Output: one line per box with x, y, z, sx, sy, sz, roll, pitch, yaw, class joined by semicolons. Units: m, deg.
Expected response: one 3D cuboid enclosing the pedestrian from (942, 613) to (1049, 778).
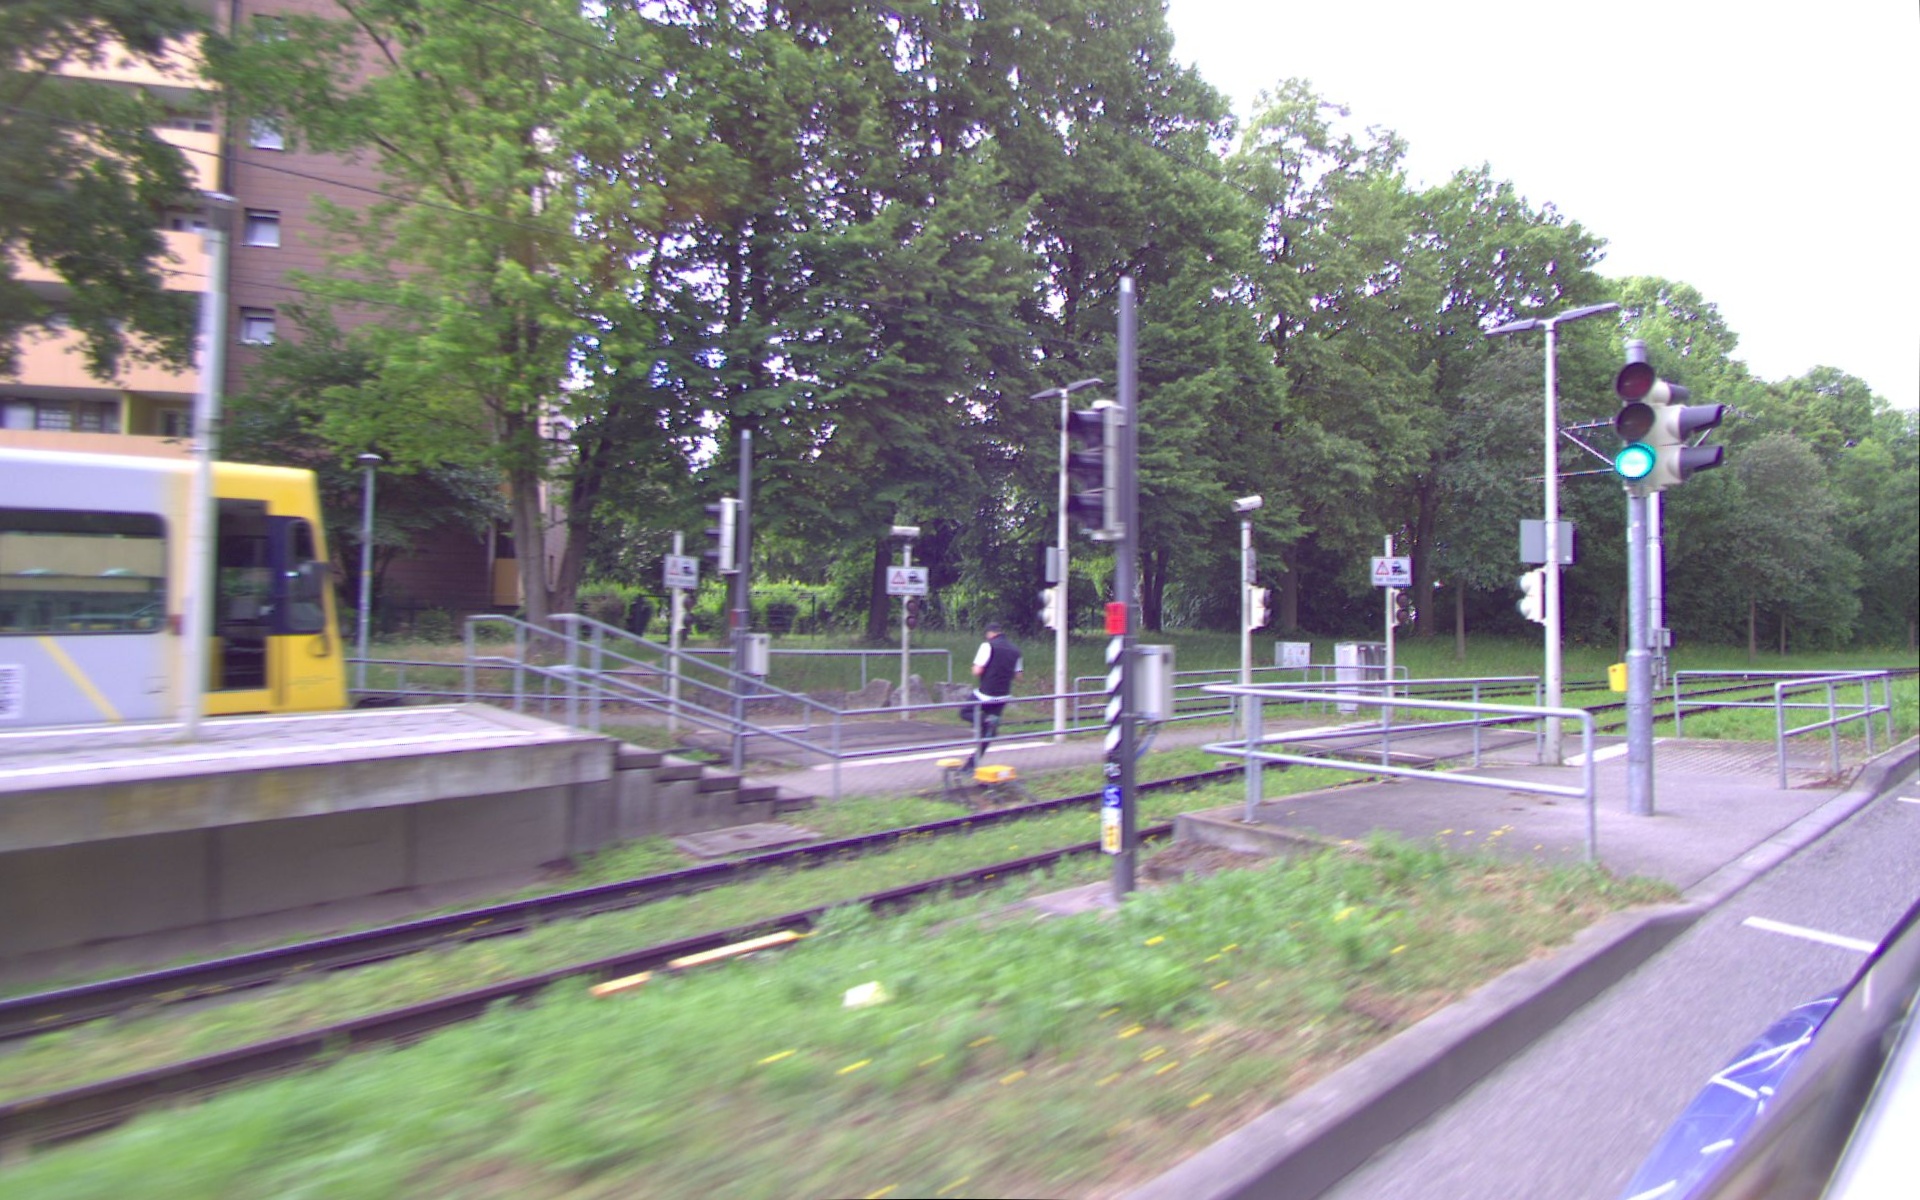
0.402;1.057;11.598;0.983;1.781;0.718;-3;-3;42;pedestrian

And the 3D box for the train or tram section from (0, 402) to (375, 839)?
-14.065;0.217;5.977;18.195;3.785;2.819;0;-2;-39;train or tram section
